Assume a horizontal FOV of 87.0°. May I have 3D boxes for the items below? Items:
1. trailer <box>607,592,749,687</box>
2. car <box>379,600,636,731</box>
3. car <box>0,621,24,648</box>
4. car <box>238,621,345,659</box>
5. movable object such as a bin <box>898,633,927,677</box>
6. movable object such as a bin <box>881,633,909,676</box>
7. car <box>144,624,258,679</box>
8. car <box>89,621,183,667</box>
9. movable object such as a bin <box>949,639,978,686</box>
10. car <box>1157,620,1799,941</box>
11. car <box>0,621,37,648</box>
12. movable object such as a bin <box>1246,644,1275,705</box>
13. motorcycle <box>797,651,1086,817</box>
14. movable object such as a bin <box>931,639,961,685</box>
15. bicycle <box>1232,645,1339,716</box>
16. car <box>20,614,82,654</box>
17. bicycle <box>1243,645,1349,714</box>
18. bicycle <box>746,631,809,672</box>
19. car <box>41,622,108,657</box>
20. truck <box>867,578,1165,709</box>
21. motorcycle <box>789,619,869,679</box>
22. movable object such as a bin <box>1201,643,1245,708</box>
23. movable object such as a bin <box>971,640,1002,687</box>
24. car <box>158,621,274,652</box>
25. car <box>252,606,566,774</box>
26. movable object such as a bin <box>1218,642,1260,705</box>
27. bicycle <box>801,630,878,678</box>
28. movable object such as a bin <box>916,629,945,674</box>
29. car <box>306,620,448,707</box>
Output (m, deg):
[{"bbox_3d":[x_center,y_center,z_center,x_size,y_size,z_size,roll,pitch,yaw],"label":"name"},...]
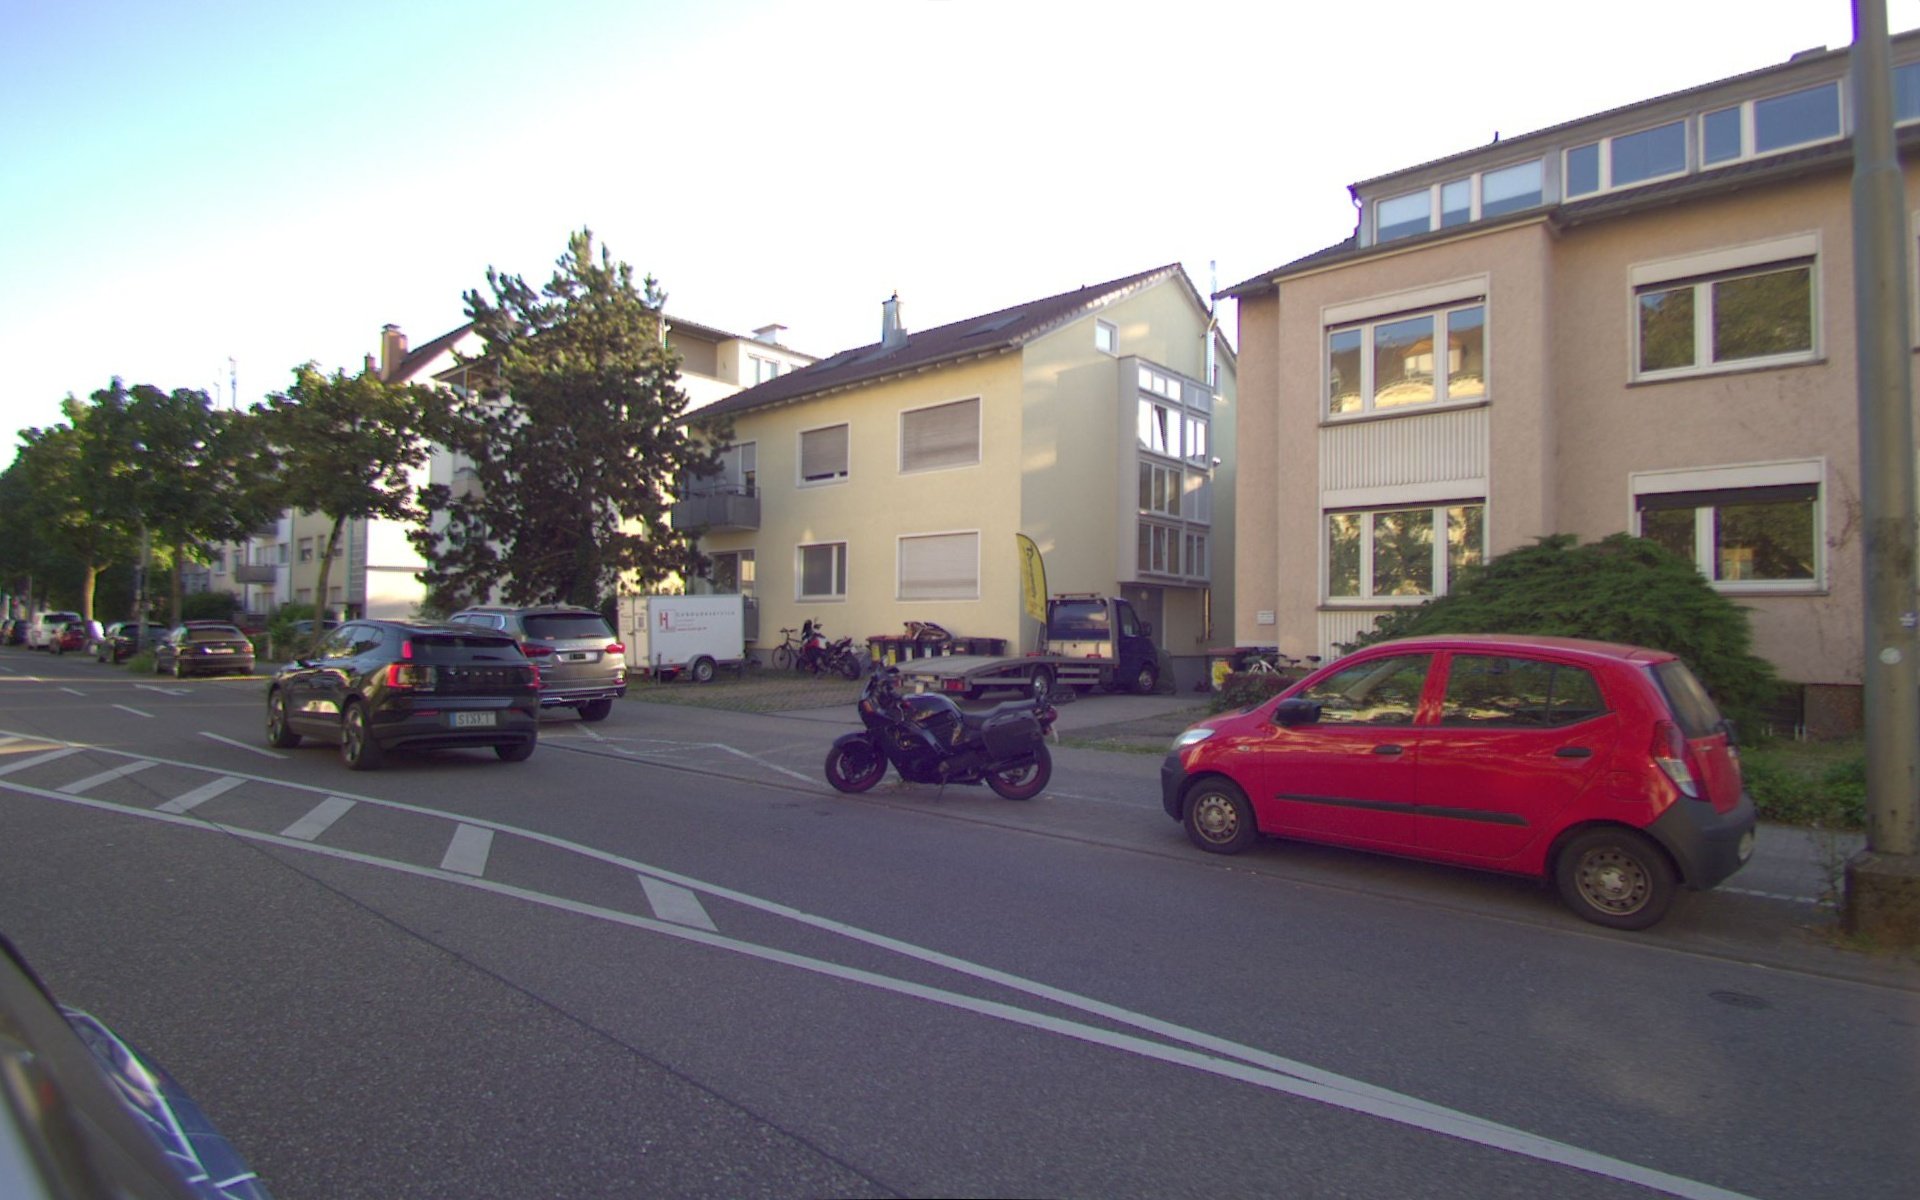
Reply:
[{"bbox_3d":[-6.463,0.906,23.334,1.551,2.029,2.745,-1,-3,39],"label":"trailer"},{"bbox_3d":[-7.325,0.958,16.151,4.723,1.793,1.868,-1,-2,40],"label":"car"},{"bbox_3d":[-55.302,1.964,58.574,3.682,1.475,1.388,-1,0,43],"label":"car"},{"bbox_3d":[-28.017,1.682,42.501,1.686,1.535,3.421,-1,-3,42],"label":"car"},{"bbox_3d":[-1.114,1.293,23.917,0.450,1.026,0.497,-1,-3,41],"label":"movable object such as a bin"},{"bbox_3d":[-1.564,1.300,24.296,0.450,1.026,0.497,-1,-3,41],"label":"movable object such as a bin"},{"bbox_3d":[-21.197,1.389,28.188,4.442,1.418,1.620,-1,-2,41],"label":"car"},{"bbox_3d":[-28.982,1.519,35.557,3.997,1.497,1.838,-1,-3,41],"label":"car"},{"bbox_3d":[0.079,1.409,22.839,0.450,1.026,0.497,-1,-3,41],"label":"movable object such as a bin"},{"bbox_3d":[3.186,0.909,6.627,3.437,1.535,1.575,-1,-2,44],"label":"car"},{"bbox_3d":[-52.090,1.885,55.844,3.682,1.416,1.388,-1,0,43],"label":"car"},{"bbox_3d":[5.326,1.311,17.943,0.349,1.046,0.430,-1,-3,41],"label":"movable object such as a bin"},{"bbox_3d":[-0.134,1.123,9.089,2.350,1.276,1.176,0,-2,18],"label":"motorcycle"},{"bbox_3d":[-0.316,1.406,23.130,0.450,1.026,0.497,-1,-3,41],"label":"movable object such as a bin"},{"bbox_3d":[5.386,1.316,16.811,1.710,1.094,0.329,-1,-3,41],"label":"bicycle"},{"bbox_3d":[-43.708,1.618,48.623,4.190,1.823,1.717,-1,-2,41],"label":"car"},{"bbox_3d":[5.635,1.315,17.058,1.710,1.094,0.329,-1,-3,41],"label":"bicycle"},{"bbox_3d":[-5.034,1.403,27.853,2.045,1.072,0.513,-1,-2,41],"label":"bicycle"},{"bbox_3d":[-38.421,1.694,43.895,3.635,1.475,1.717,-1,-2,41],"label":"car"},{"bbox_3d":[1.399,0.851,20.291,2.275,2.202,6.822,-1,-2,41],"label":"truck"},{"bbox_3d":[-3.209,1.170,24.573,2.257,1.384,0.564,-1,-3,41],"label":"motorcycle"},{"bbox_3d":[4.606,1.315,17.738,0.586,1.099,0.483,-1,-3,42],"label":"movable object such as a bin"},{"bbox_3d":[0.590,1.396,22.441,0.450,1.026,0.497,-1,-3,41],"label":"movable object such as a bin"},{"bbox_3d":[-38.344,1.855,52.252,1.735,1.416,4.515,-1,0,31],"label":"car"},{"bbox_3d":[-6.399,0.916,11.579,3.998,1.582,1.816,0,-4,41],"label":"car"},{"bbox_3d":[5.023,1.318,18.199,0.586,1.099,0.483,-1,-3,42],"label":"movable object such as a bin"},{"bbox_3d":[-3.064,1.336,25.582,2.257,1.149,0.564,-1,-2,41],"label":"bicycle"},{"bbox_3d":[-0.682,1.203,23.596,0.450,1.026,0.497,-1,-3,41],"label":"movable object such as a bin"},{"bbox_3d":[-11.475,1.194,19.898,2.747,1.567,1.557,-1,-2,40],"label":"car"}]
